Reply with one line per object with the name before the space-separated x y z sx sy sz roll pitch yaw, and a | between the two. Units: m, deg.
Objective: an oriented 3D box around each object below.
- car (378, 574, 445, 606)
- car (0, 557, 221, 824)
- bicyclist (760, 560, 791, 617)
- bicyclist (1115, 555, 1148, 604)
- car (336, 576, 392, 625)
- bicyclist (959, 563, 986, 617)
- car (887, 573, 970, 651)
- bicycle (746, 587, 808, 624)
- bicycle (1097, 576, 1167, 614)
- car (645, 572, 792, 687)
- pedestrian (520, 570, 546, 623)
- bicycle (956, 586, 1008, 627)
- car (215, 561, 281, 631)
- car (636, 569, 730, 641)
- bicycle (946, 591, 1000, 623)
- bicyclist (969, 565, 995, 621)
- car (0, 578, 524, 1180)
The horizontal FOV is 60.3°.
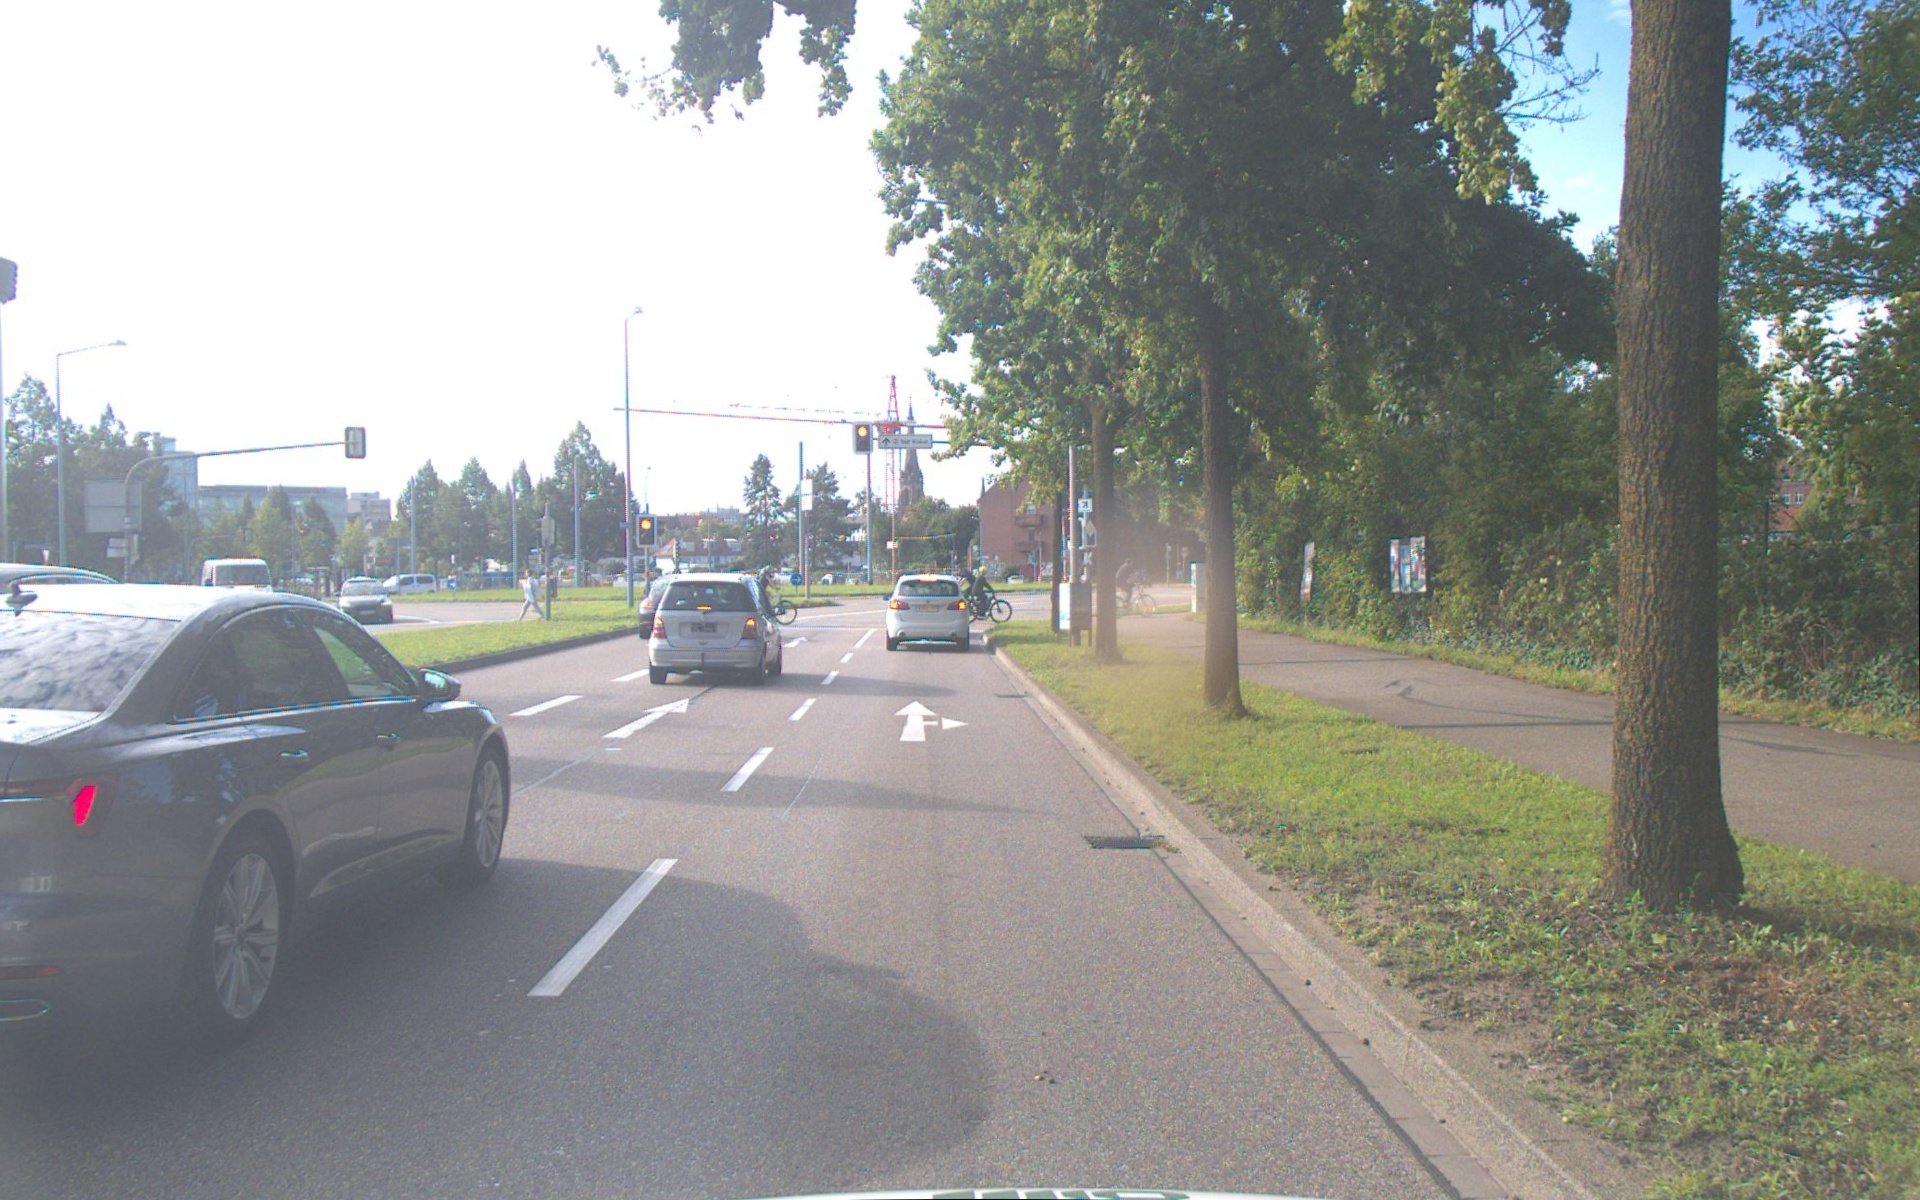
car | -36.321 -0.677 109.592 1.785 2.049 4.233 -2 0 25
car | -6.571 0.517 10.868 1.694 1.585 4.018 0 1 -1
bicyclist | -5.426 -0.346 48.621 0.815 1.676 0.683 0 0 -13
bicyclist | 5.411 -0.630 52.133 0.807 1.515 0.759 -1 0 -16
car | -20.990 0.007 58.168 1.681 1.600 3.974 -3 1 -21
bicyclist | 0.401 -0.329 53.315 0.773 1.697 0.549 -1 0 -6
car | -0.711 0.217 35.995 1.694 1.585 4.057 0 1 -2
bicycle | -5.395 0.148 48.633 1.741 1.068 0.708 0 0 -14
bicycle | 5.427 -0.156 52.131 2.006 1.140 0.887 -1 0 -16
car | -3.548 0.374 24.940 1.694 1.585 4.057 0 1 -1
pedestrian | -12.884 -0.103 49.965 0.642 1.596 0.615 -1 0 -6
bicycle | 0.676 0.194 50.879 1.587 1.239 0.490 0 0 -3
car | -25.294 -0.156 58.647 1.968 2.274 5.879 -3 1 -24
car | -6.609 0.080 39.810 1.686 1.592 3.877 1 1 -1
bicycle | 0.410 0.224 53.311 1.642 0.984 0.643 -1 1 -7
bicyclist | 0.685 -0.216 50.862 0.753 1.676 0.535 -1 2 -2
car | -3.167 0.673 6.419 1.852 1.508 4.611 0 1 -2
